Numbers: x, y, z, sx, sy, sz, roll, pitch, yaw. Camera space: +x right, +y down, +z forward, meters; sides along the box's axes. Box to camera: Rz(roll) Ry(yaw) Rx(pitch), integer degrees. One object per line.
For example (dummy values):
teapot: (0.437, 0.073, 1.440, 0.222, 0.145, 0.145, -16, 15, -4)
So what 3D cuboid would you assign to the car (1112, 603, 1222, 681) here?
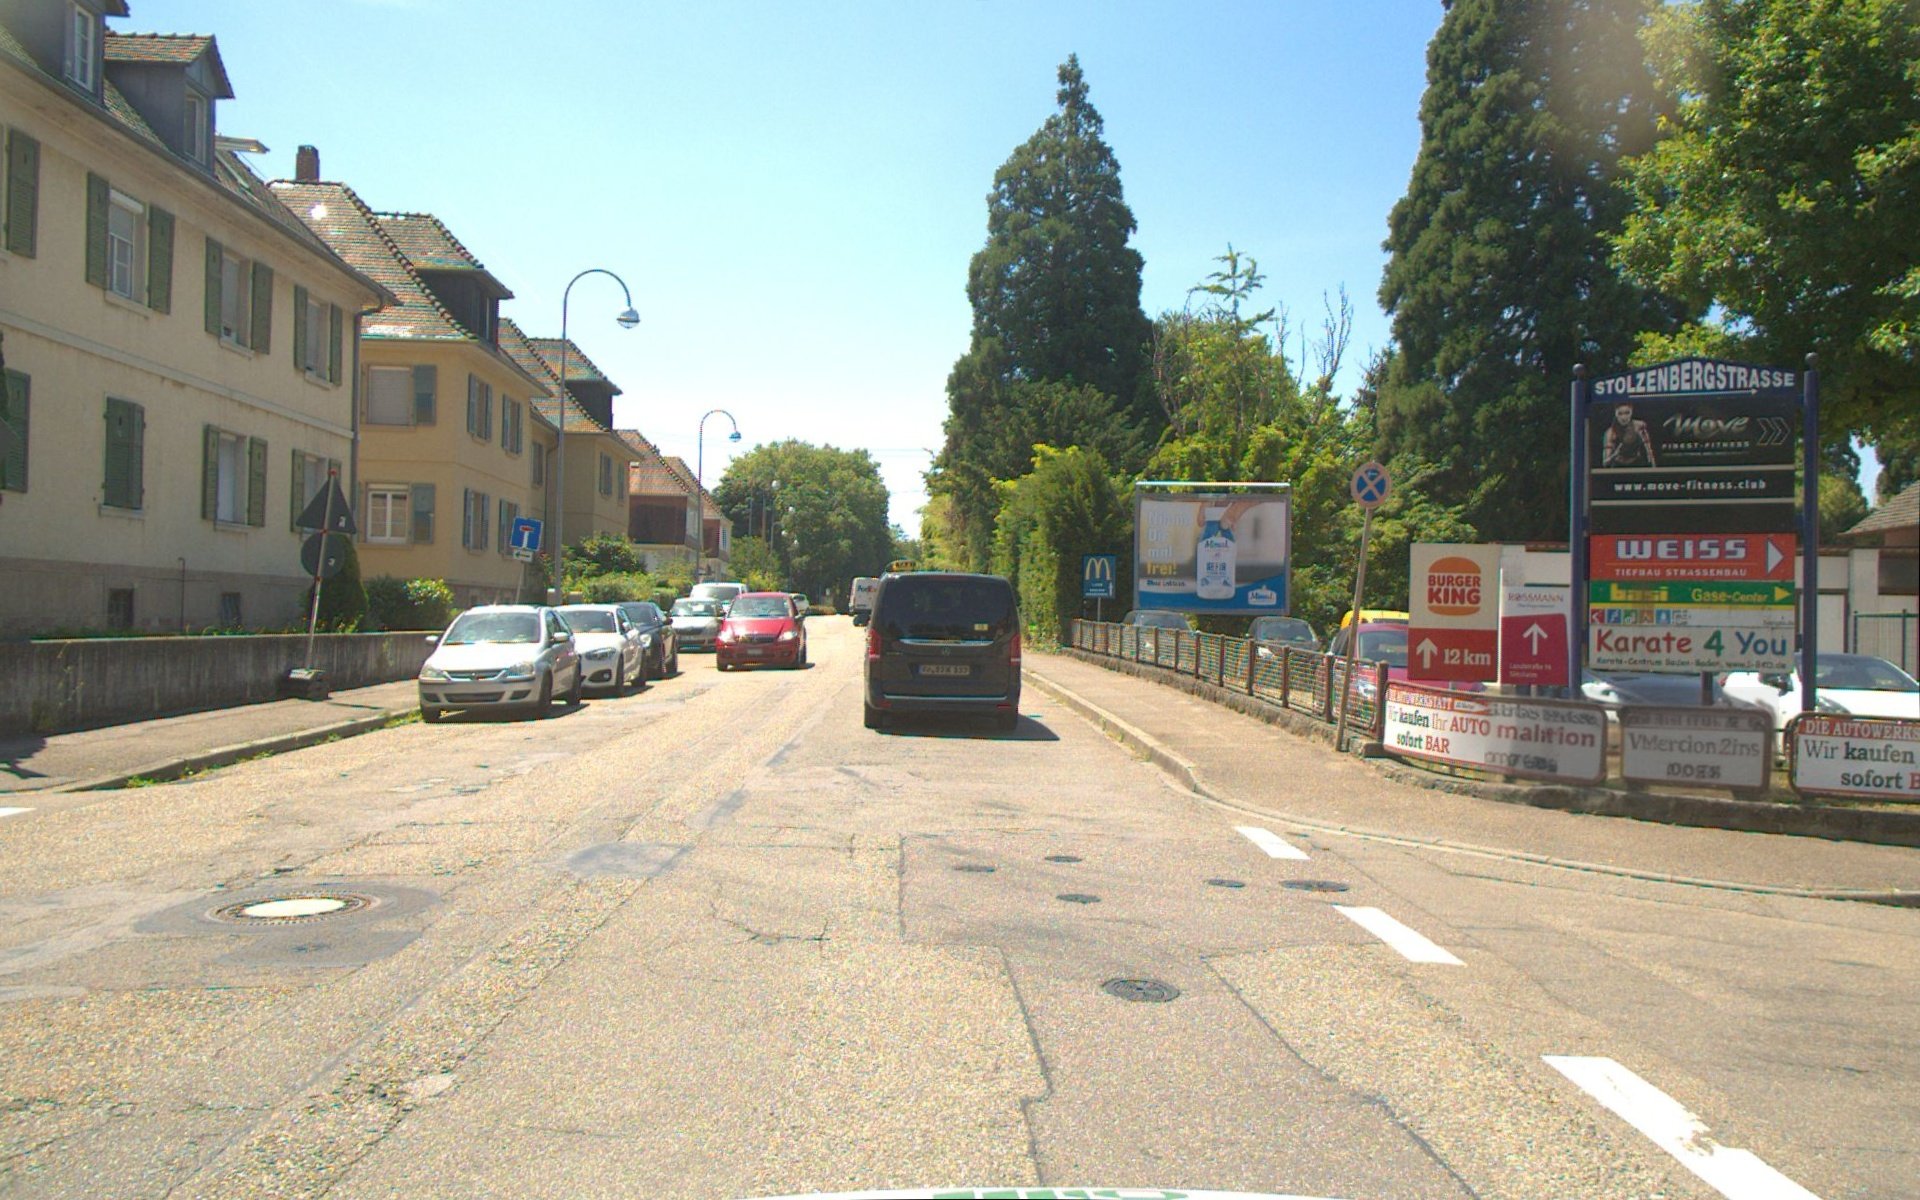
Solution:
car: (4.502, 0.884, 36.447, 1.600, 1.484, 3.553, 5, -1, -5)

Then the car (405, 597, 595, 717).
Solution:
car: (-6.159, 0.714, 22.552, 1.724, 1.473, 3.921, 0, 0, -4)

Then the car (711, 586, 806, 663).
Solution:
car: (-4.327, 0.508, 35.935, 1.778, 1.593, 3.694, 0, 0, -3)

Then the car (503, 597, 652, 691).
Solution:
car: (-6.239, 0.680, 27.393, 1.759, 1.426, 4.215, 0, 0, -4)

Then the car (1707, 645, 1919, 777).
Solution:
car: (10.159, 1.241, 19.289, 1.675, 1.292, 3.387, 2, 0, 7)

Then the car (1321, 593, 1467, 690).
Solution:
car: (9.400, 0.863, 36.157, 1.740, 1.831, 4.162, 5, -1, -3)

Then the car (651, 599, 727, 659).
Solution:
car: (-7.538, 0.783, 46.362, 1.653, 1.552, 4.059, 2, 0, -3)

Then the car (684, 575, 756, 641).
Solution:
car: (-7.675, 0.240, 53.232, 1.840, 1.997, 4.623, -1, 0, -3)

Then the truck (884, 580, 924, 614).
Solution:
truck: (-3.956, -0.193, 116.154, 2.311, 2.298, 6.083, 1, 0, -7)

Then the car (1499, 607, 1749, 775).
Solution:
car: (7.821, 0.987, 19.912, 1.675, 1.694, 4.463, 3, 0, 8)

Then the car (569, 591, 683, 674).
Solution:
car: (-6.509, 0.610, 32.582, 1.682, 1.511, 4.073, 0, 0, -4)

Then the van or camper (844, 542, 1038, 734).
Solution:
van or camper: (-0.381, 0.423, 20.872, 1.866, 2.049, 5.262, 2, 0, -6)

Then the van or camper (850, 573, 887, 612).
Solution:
van or camper: (-6.162, -0.454, 111.121, 2.219, 2.572, 4.753, 0, 0, -6)

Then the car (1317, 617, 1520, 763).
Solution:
car: (5.464, 1.009, 20.148, 1.675, 1.550, 3.841, 1, 0, 5)

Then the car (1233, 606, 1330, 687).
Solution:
car: (7.061, 0.997, 36.584, 1.598, 1.570, 3.394, 5, -1, 4)
